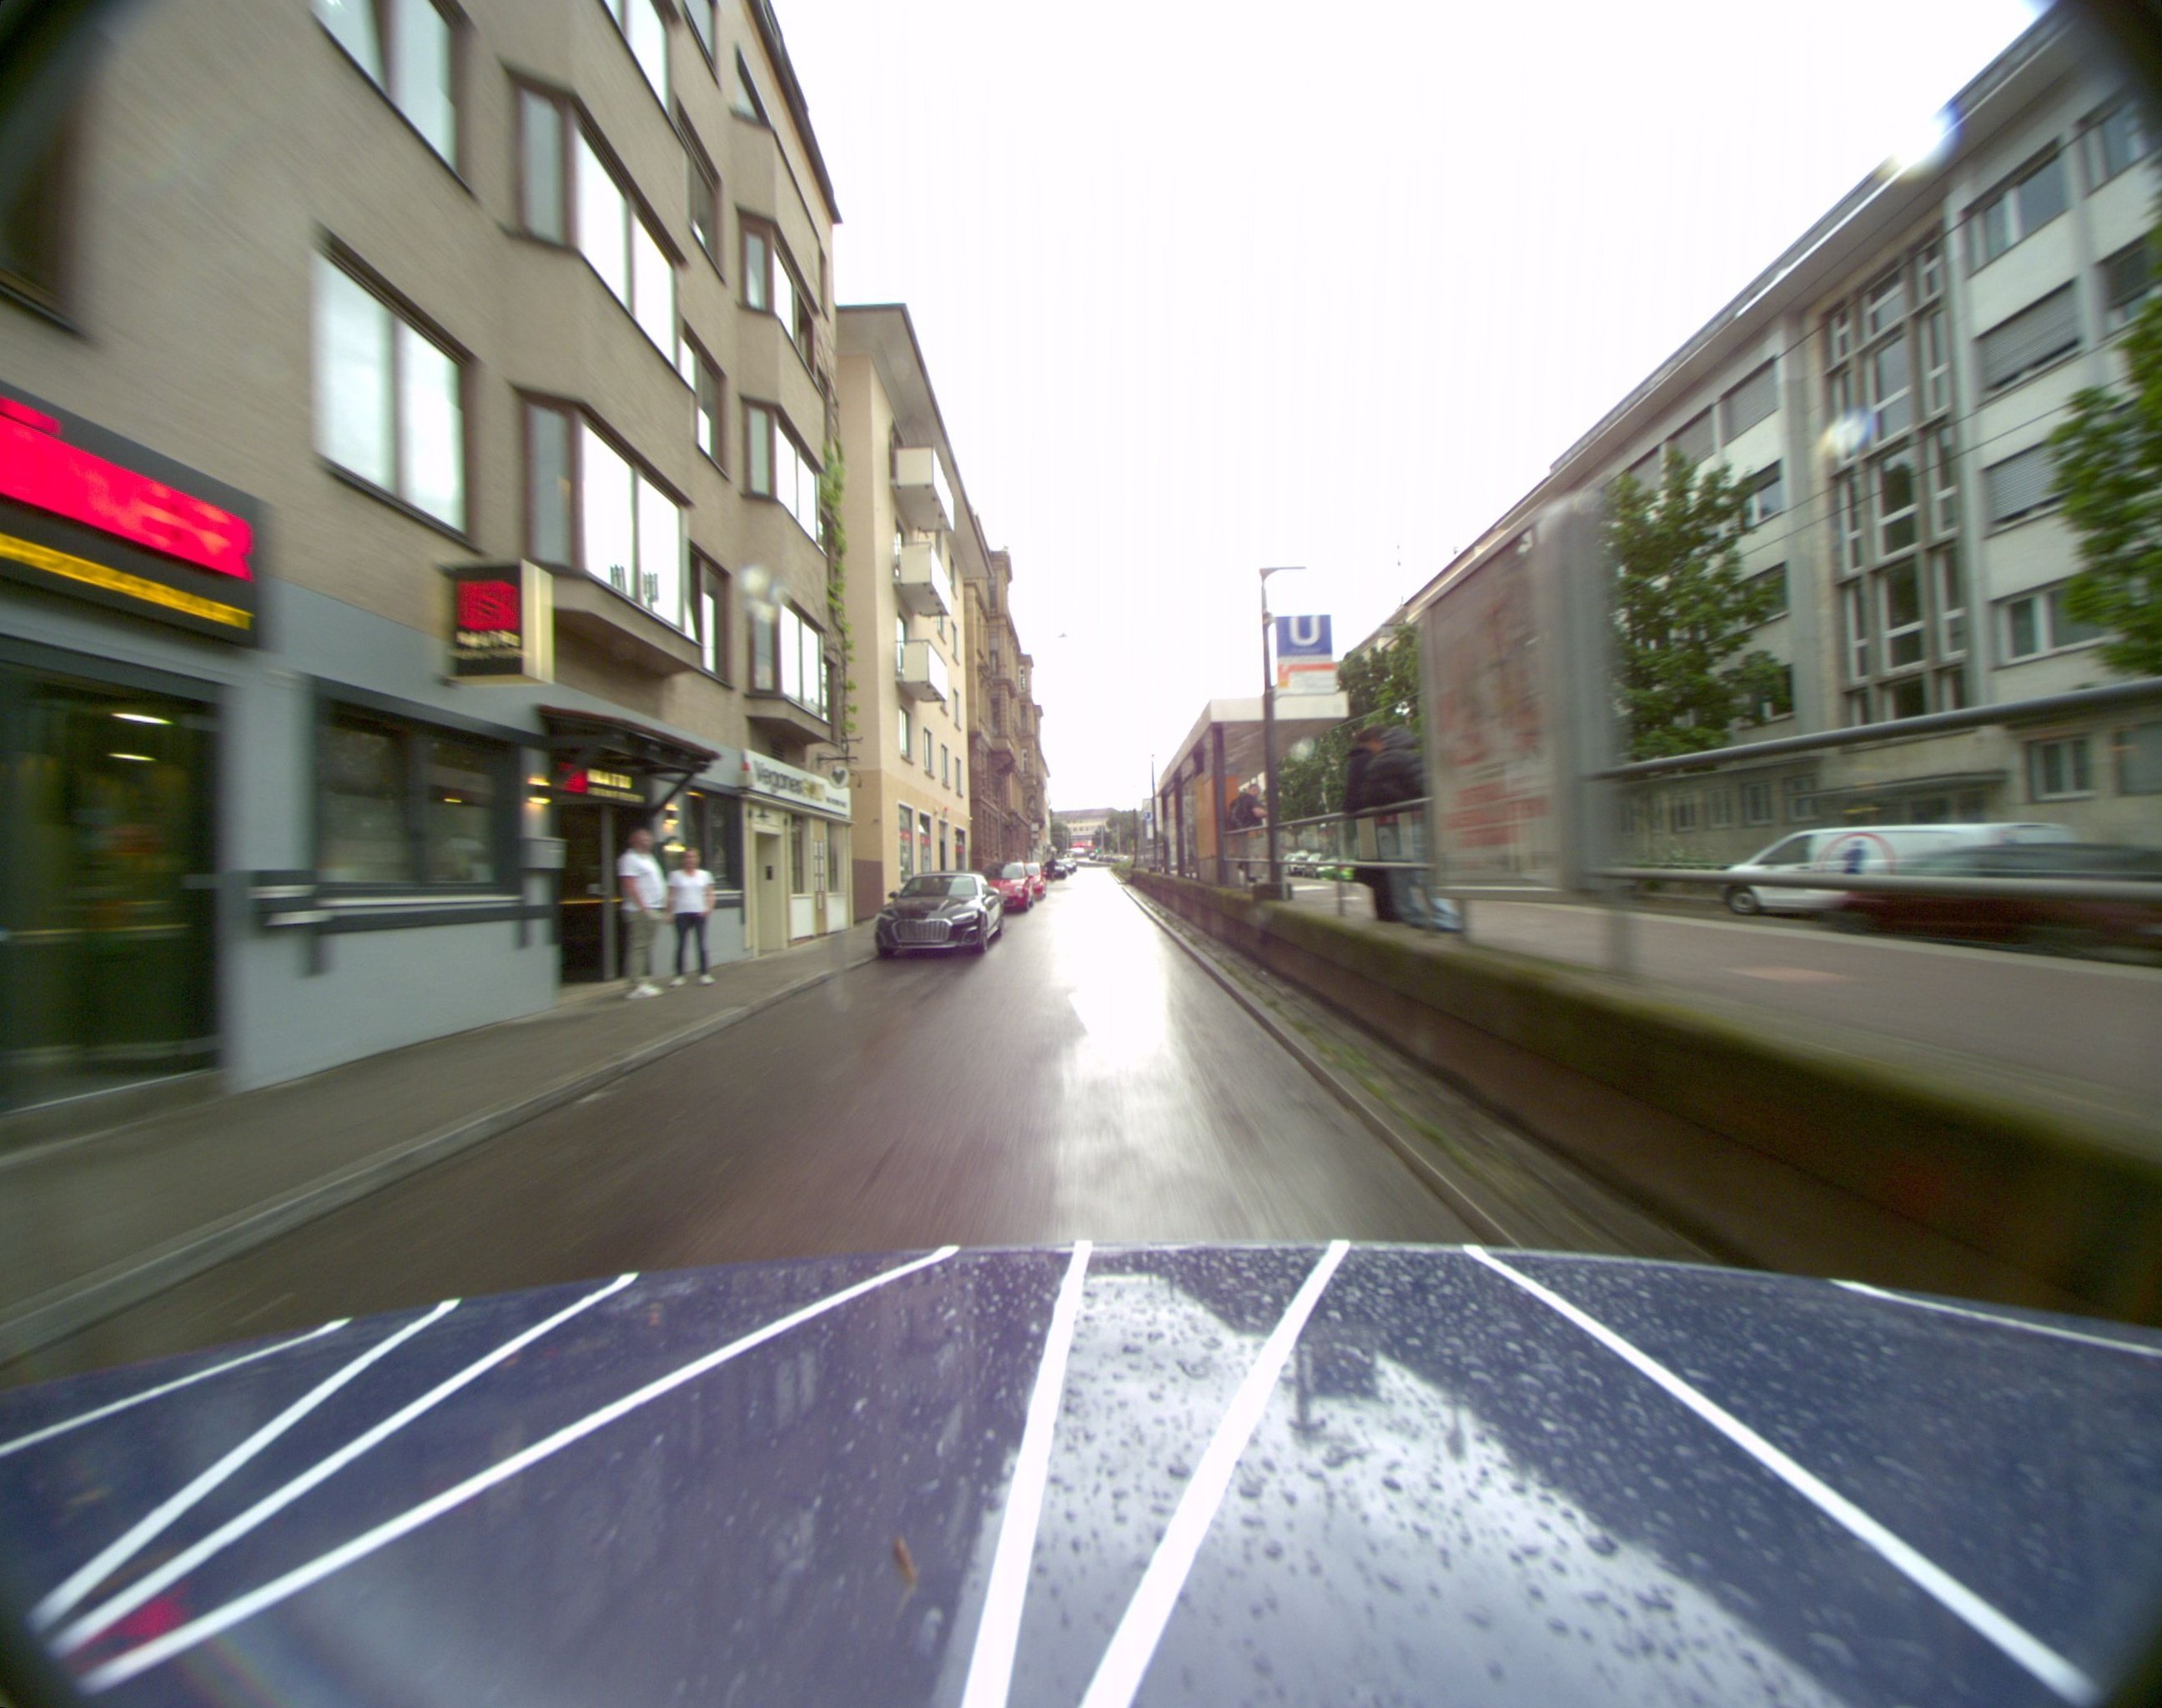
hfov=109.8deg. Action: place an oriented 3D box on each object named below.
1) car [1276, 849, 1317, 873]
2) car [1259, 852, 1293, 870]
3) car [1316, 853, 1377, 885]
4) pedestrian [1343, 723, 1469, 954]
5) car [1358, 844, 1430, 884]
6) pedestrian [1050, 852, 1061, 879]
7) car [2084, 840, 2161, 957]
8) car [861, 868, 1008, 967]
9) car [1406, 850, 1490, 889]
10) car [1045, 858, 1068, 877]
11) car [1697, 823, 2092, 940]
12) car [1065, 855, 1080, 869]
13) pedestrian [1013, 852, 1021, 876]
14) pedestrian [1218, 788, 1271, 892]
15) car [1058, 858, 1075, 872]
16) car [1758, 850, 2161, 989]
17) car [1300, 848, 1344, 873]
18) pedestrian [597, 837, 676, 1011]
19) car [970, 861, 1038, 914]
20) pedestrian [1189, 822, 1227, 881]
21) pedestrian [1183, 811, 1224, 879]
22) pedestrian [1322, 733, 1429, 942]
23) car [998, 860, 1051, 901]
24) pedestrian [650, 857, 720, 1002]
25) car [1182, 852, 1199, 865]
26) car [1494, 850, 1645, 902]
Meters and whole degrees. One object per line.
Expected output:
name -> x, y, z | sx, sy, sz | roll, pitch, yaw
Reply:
car -> 15.482, 0.471, 54.681 | 1.662, 1.575, 4.337 | -1, 0, -1
car -> 15.502, 0.517, 60.621 | 1.718, 1.367, 4.457 | -1, 0, 2
car -> 12.314, 0.663, 35.416 | 1.642, 1.330, 3.736 | -1, 0, 2
pedestrian -> 2.317, -0.106, 5.482 | 0.585, 1.548, 0.701 | -1, 1, -1
car -> 15.343, 0.458, 37.533 | 1.678, 1.806, 4.432 | -1, 0, 0
pedestrian -> -1.721, 0.762, 51.073 | 0.653, 1.752, 0.882 | -1, 1, -3
car -> 15.096, 0.589, 8.653 | 1.642, 1.527, 4.371 | -1, 0, 1
car -> -2.562, 1.065, 14.382 | 1.911, 1.453, 4.245 | -1, 0, 0
car -> 15.301, 0.599, 31.898 | 1.643, 1.530, 3.803 | -1, 0, 0
car -> -1.804, 0.996, 57.205 | 1.628, 1.343, 3.829 | -1, 0, -1
car -> 15.189, 0.431, 14.802 | 1.912, 1.834, 5.256 | -1, 0, -3
car -> -0.993, 0.924, 89.558 | 1.588, 1.442, 3.978 | -1, 0, 0
pedestrian -> -4.354, 0.675, 51.519 | 0.489, 1.635, 0.631 | -1, 1, -3
pedestrian -> 2.720, -0.230, 12.704 | 0.712, 1.684, 0.701 | -1, 1, -1
car -> -1.368, 1.057, 74.679 | 1.588, 1.343, 3.977 | -1, 0, -1
car -> 12.197, 0.688, 10.416 | 1.696, 1.453, 4.529 | -1, 0, -2
car -> 15.340, 0.398, 48.541 | 1.642, 1.529, 4.022 | -1, 0, 1
pedestrian -> -4.881, 0.744, 8.370 | 0.530, 1.848, 0.556 | -1, 1, -7
car -> -2.327, 0.987, 23.732 | 1.649, 1.453, 3.414 | -1, 0, 1
pedestrian -> 2.855, -0.046, 17.139 | 0.730, 1.294, 0.701 | -1, 1, -1
pedestrian -> 3.161, -0.242, 19.622 | 0.919, 1.714, 0.701 | -1, 1, -2
pedestrian -> 2.376, -0.129, 6.190 | 0.585, 1.600, 0.701 | -1, 1, -1
car -> -2.178, 0.994, 29.911 | 1.720, 1.453, 3.445 | -1, 0, 1
pedestrian -> -4.762, 0.879, 9.167 | 0.546, 1.671, 0.595 | -1, 1, -7
car -> 13.513, 0.541, 94.023 | 1.642, 1.453, 3.963 | -1, 0, 1
car -> 15.047, 0.611, 23.744 | 1.696, 1.453, 4.529 | -1, 0, -2
